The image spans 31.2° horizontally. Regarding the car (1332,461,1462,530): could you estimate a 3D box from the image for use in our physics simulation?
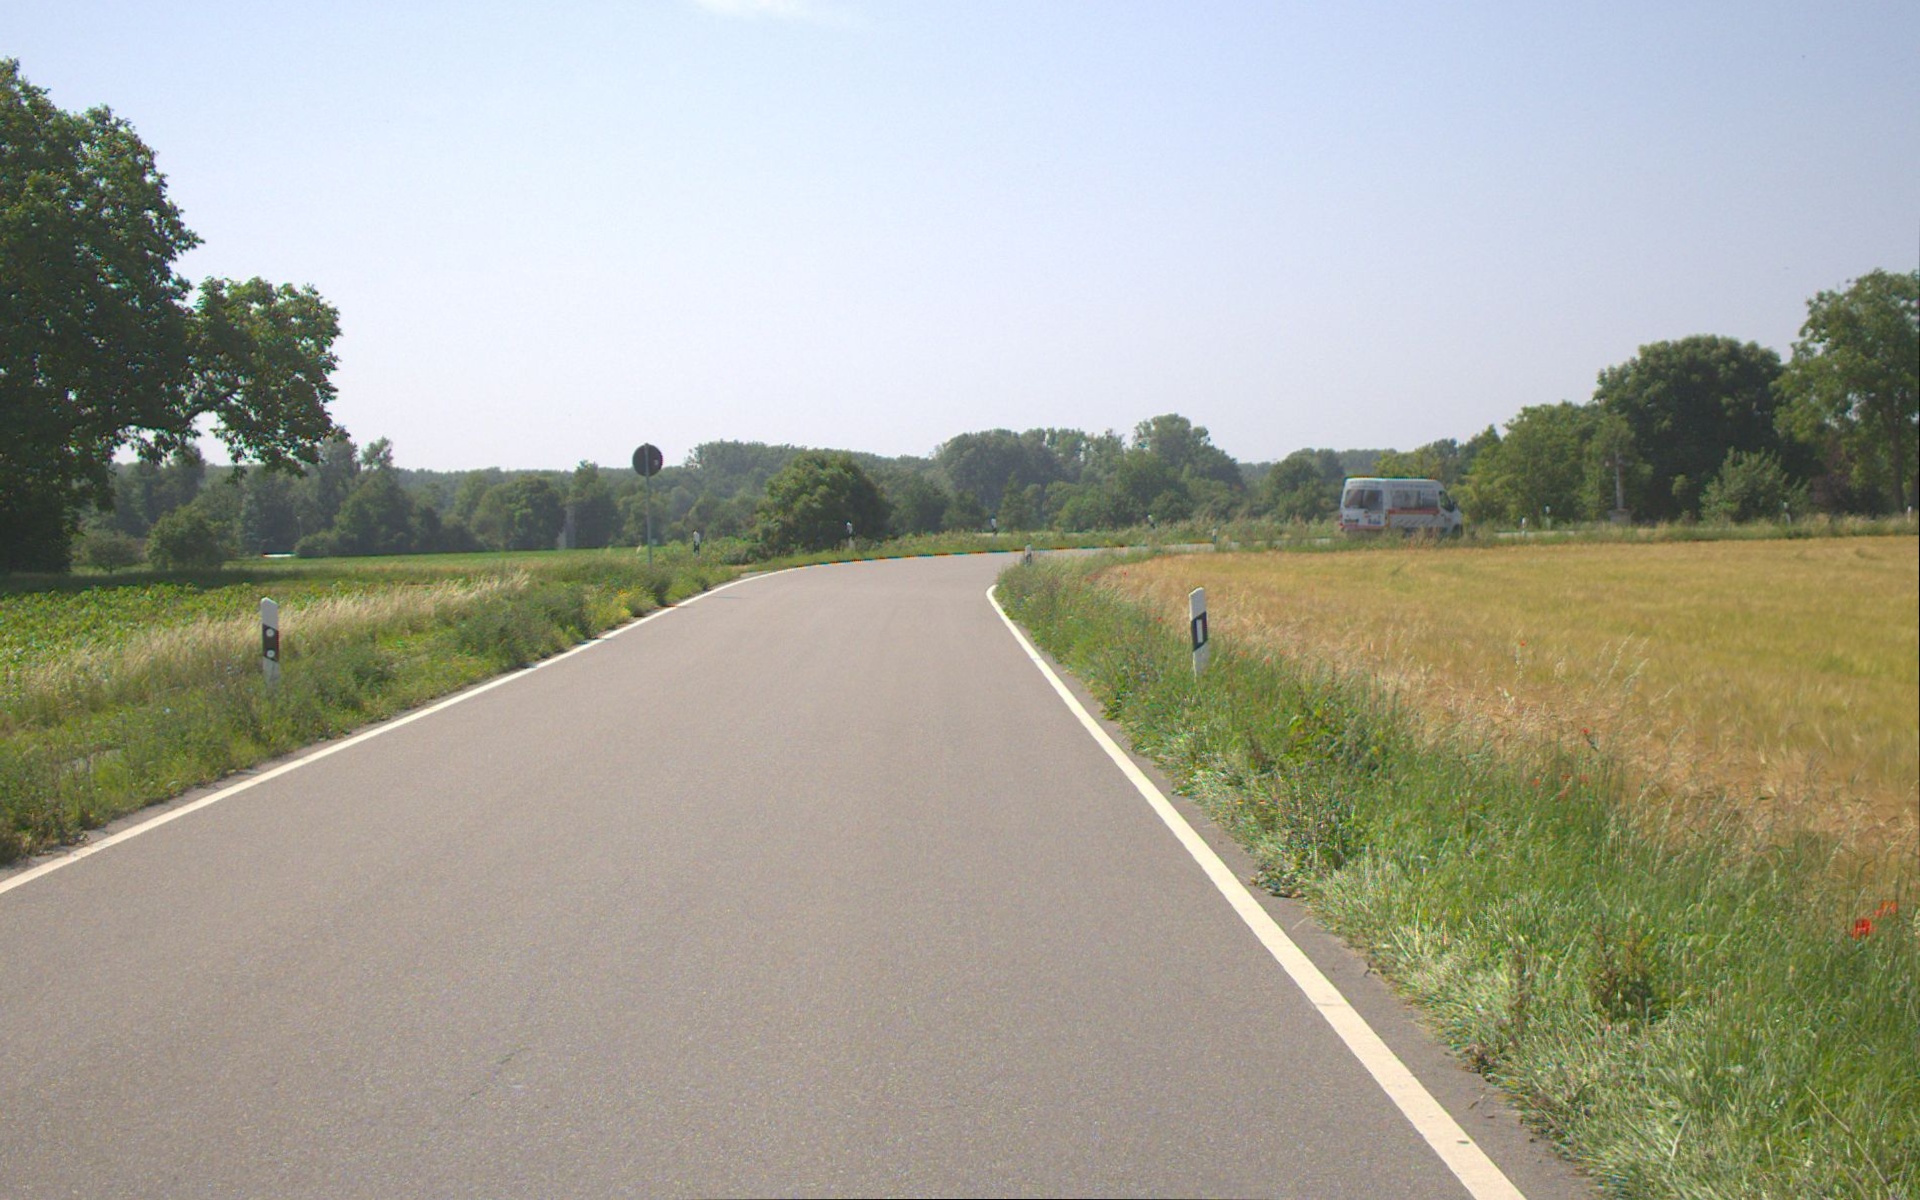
[{"bbox_3d":[15.987,-3.817,125.517,2.108,2.359,5.675,-1,2,37],"label":"car"}]
